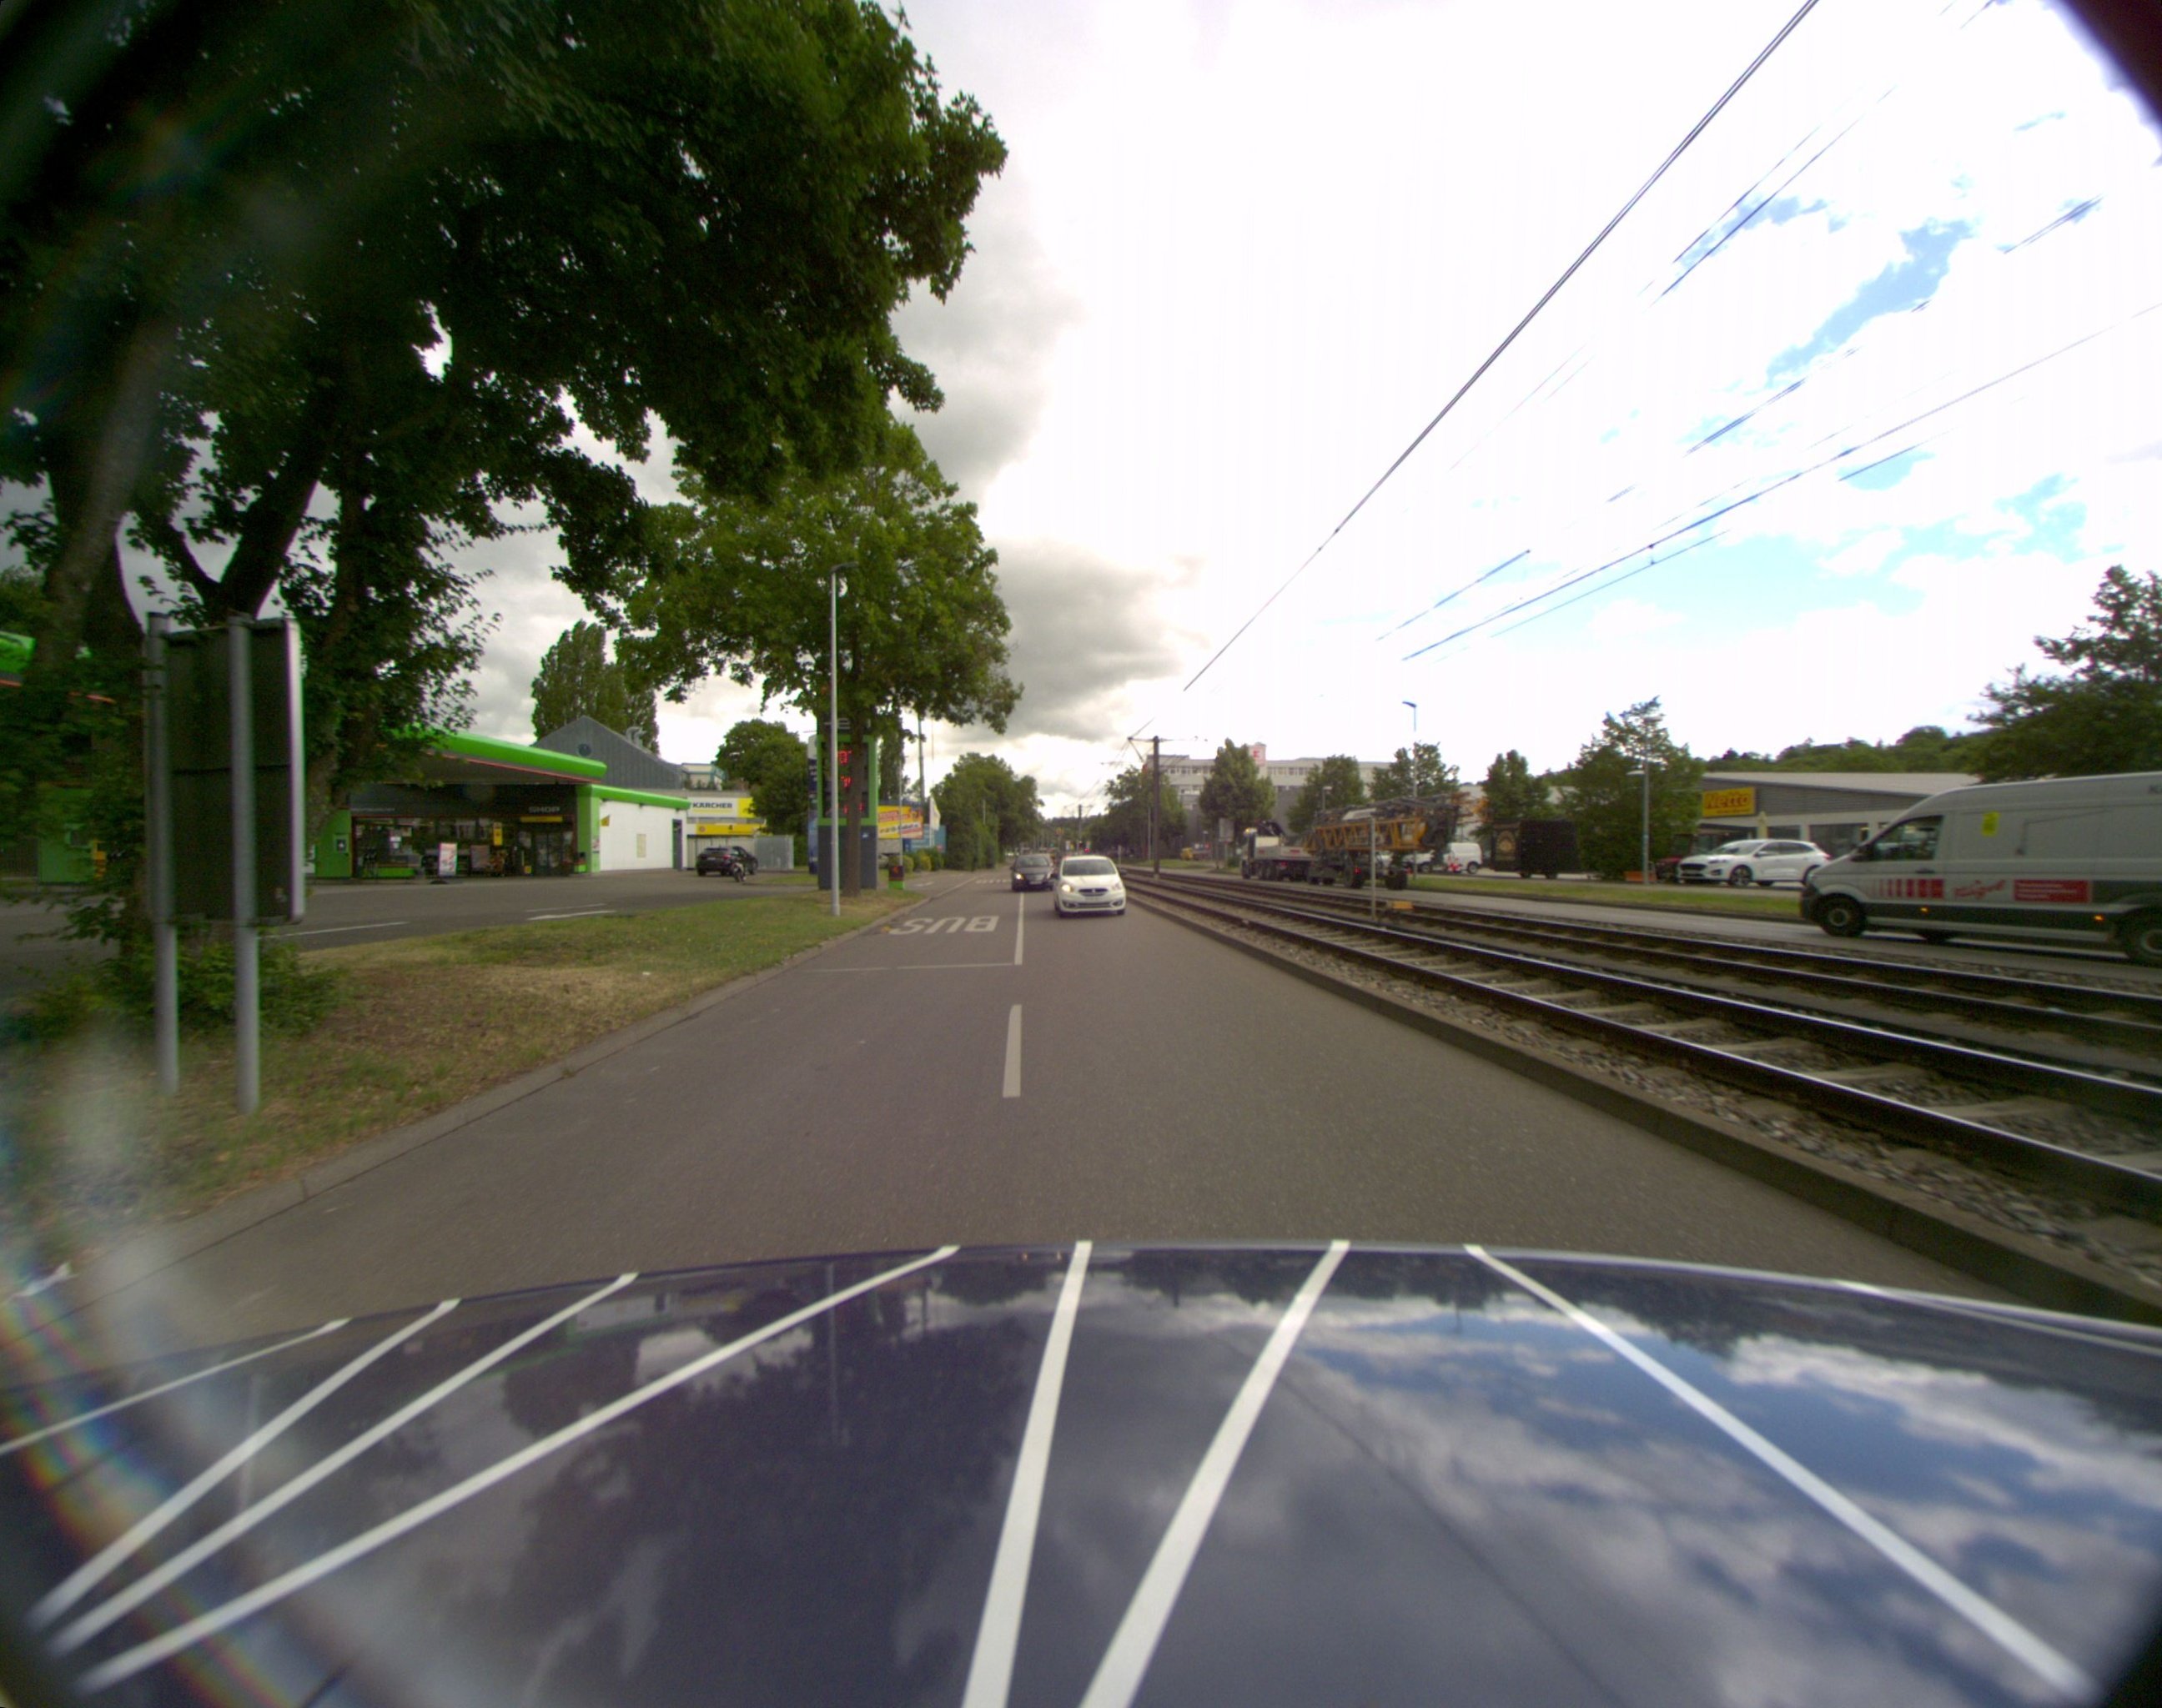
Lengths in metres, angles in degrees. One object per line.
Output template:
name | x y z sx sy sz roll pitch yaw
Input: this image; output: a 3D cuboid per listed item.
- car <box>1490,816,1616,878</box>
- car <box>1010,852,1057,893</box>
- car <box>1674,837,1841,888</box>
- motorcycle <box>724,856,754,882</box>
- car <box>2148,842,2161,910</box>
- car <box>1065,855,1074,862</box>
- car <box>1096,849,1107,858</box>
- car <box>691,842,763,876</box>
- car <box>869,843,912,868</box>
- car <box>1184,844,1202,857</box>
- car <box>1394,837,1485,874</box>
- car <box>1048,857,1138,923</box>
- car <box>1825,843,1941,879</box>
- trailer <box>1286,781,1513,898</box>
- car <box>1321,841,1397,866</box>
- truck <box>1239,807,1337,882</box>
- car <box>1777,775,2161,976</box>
car | 21.918 -0.301 35.413 4.483 2.733 2.287 1 1 -5
car | -2.156 0.761 33.639 1.787 1.614 3.997 -3 1 -6
car | 23.320 0.269 26.256 4.484 1.498 1.794 -3 1 -7
motorcycle | -15.947 0.668 35.479 0.705 1.180 2.386 0 0 -10
car | 34.275 0.580 22.234 3.739 2.002 1.951 -3 1 -7
car | -3.049 1.207 204.447 1.999 2.002 3.997 -3 1 -6
car | 4.774 -0.060 175.343 1.999 2.002 3.997 -3 1 -6
car | -18.999 0.243 41.011 1.999 1.629 4.324 2 0 -4
car | -15.390 0.112 61.327 3.247 1.782 1.543 -3 1 -15
car | 17.217 -0.593 116.987 1.999 2.002 3.998 0 0 -5
car | 21.142 0.062 44.910 4.357 1.908 1.999 -3 1 -1
car | 0.209 0.848 19.822 1.787 1.435 3.997 -3 1 -6
car | 39.095 0.335 37.092 3.999 1.498 1.776 -3 1 -5
trailer | 12.688 -0.525 32.786 2.679 3.874 14.418 1 0 -4
car | 19.800 -0.053 54.278 4.613 1.484 2.000 -3 1 -1
truck | 11.783 -0.514 44.272 2.900 3.943 8.628 0 0 -3
car | 14.148 0.280 11.182 1.874 2.484 5.996 1 0 -5
